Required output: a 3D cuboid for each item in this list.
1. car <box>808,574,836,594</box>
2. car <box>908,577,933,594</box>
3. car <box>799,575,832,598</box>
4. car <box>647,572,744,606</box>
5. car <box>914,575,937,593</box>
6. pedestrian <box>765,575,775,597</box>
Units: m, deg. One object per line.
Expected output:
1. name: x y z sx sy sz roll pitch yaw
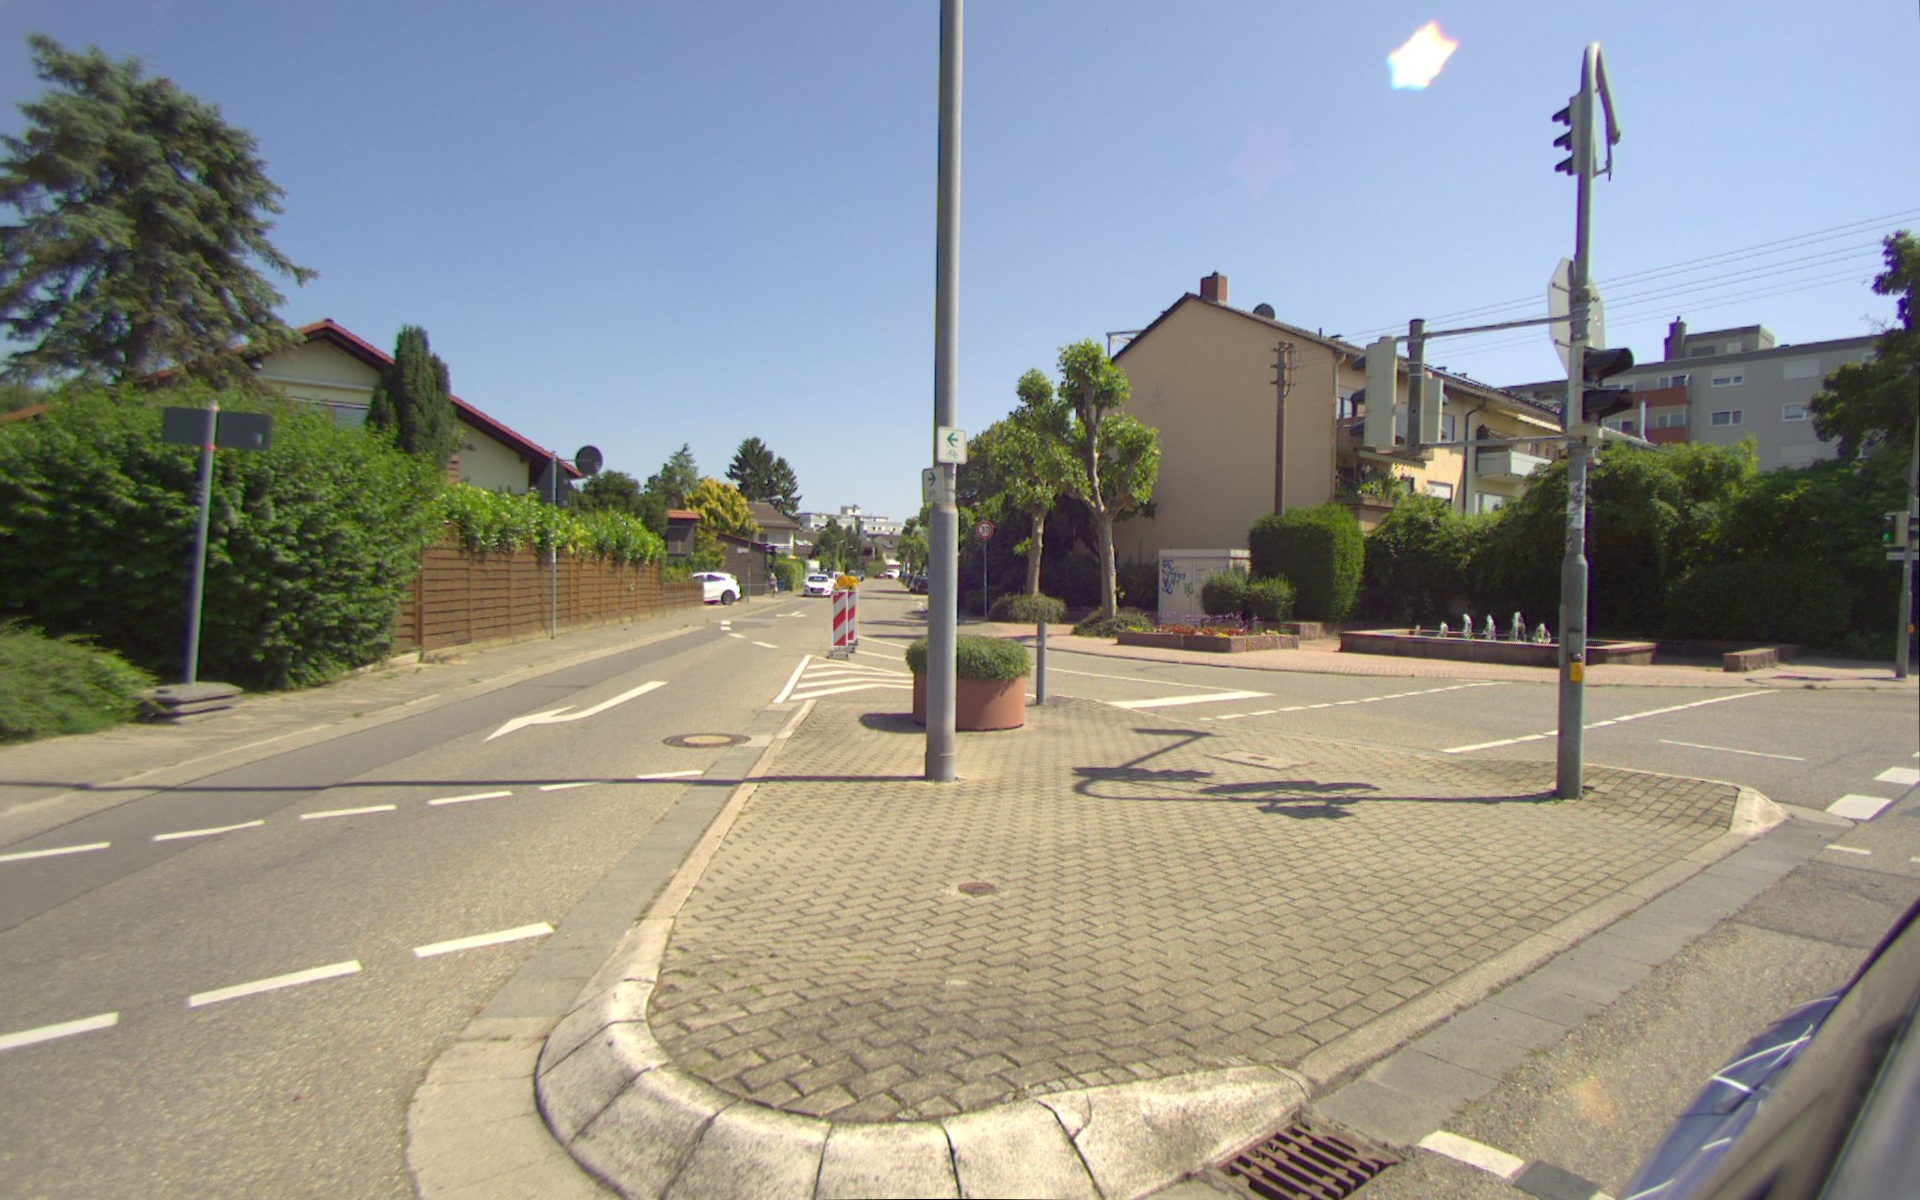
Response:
1. car: -10.531 -1.235 77.146 1.958 1.437 4.008 1 2 -10
2. car: -3.635 -1.347 93.937 1.963 1.437 3.999 1 1 2
3. car: -9.446 -0.895 66.059 1.958 1.437 4.008 1 2 -10
4. car: -11.649 -0.495 44.623 3.912 1.449 1.423 0 2 -40
5. car: -2.828 -1.343 83.961 1.683 1.437 3.999 1 2 2
6. pedestrian: -11.314 -0.844 60.301 0.531 1.331 0.432 1 1 -15
